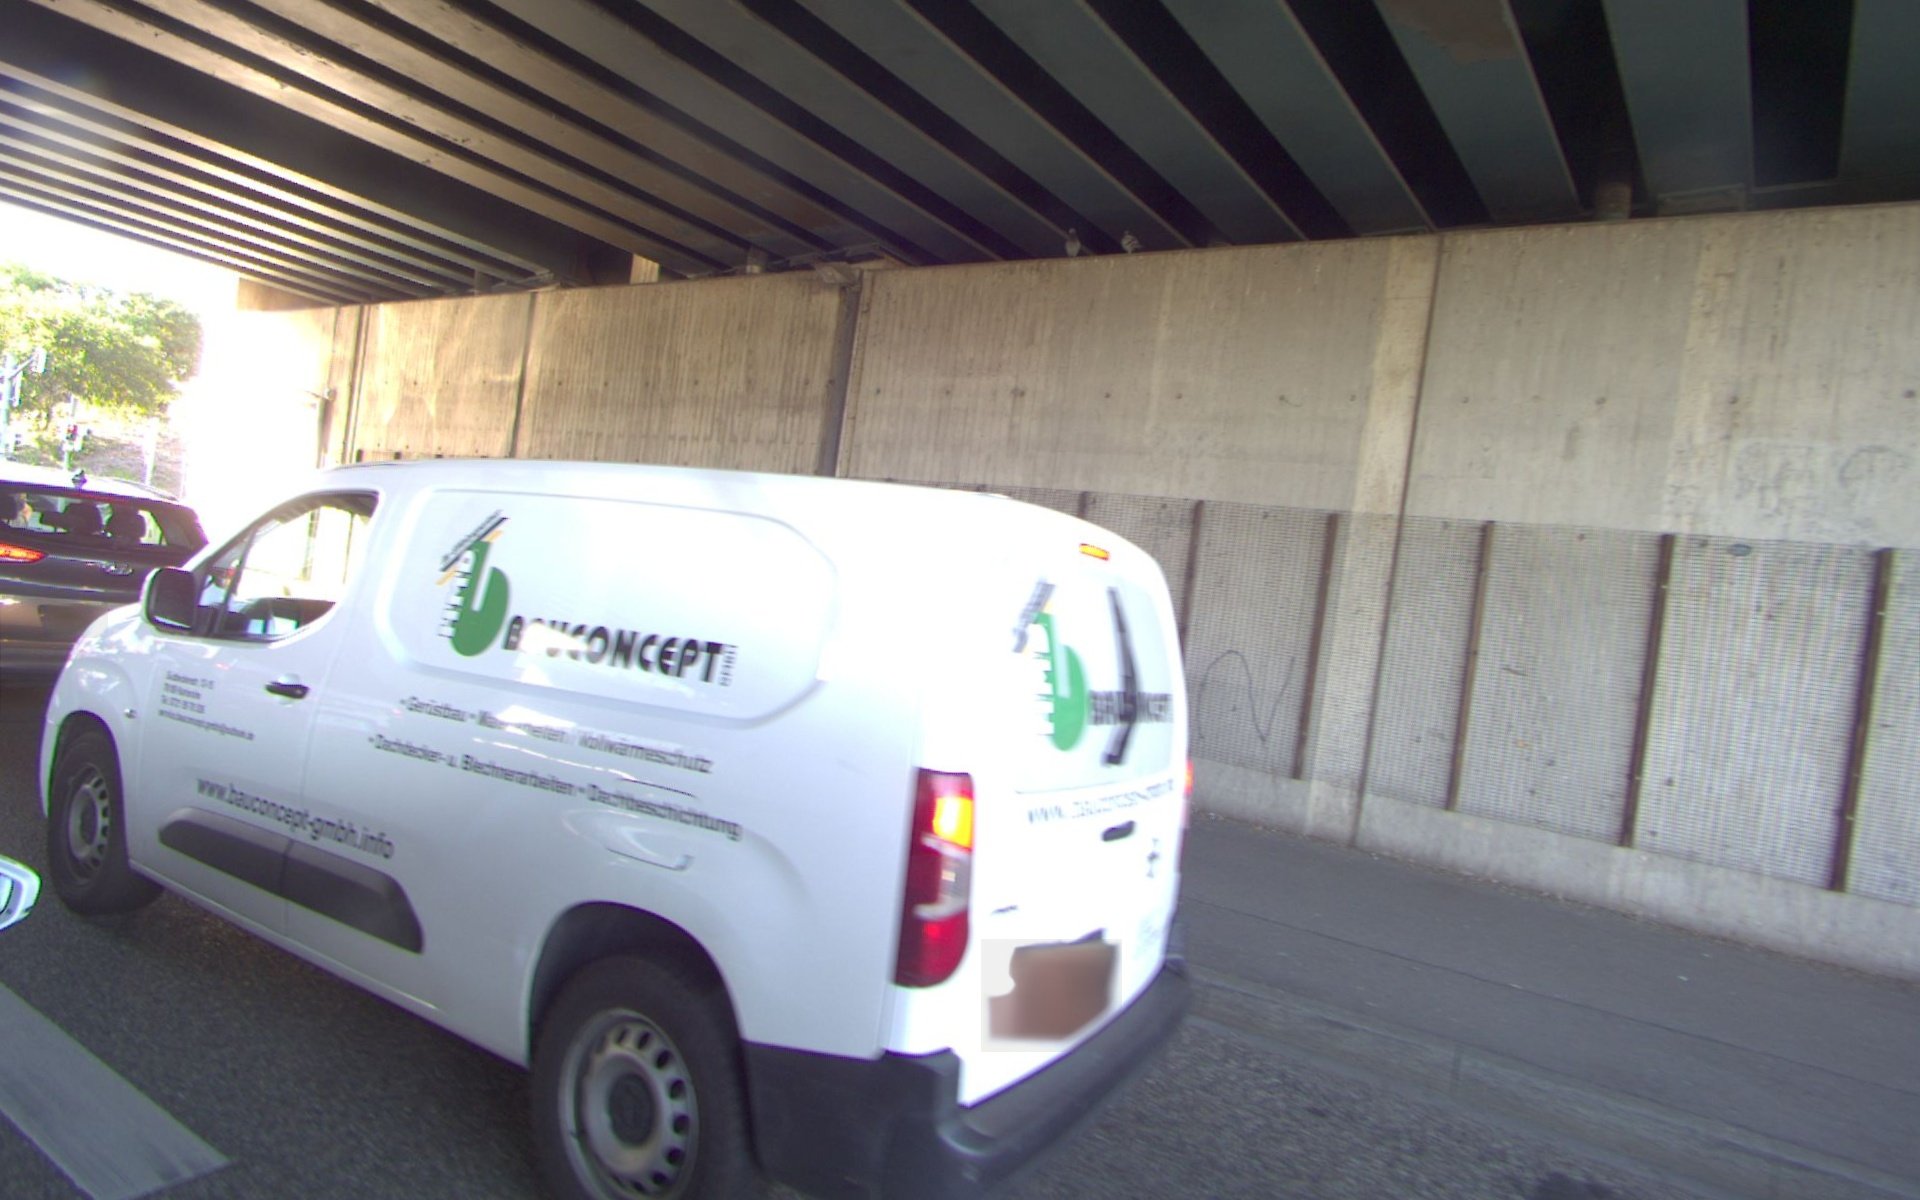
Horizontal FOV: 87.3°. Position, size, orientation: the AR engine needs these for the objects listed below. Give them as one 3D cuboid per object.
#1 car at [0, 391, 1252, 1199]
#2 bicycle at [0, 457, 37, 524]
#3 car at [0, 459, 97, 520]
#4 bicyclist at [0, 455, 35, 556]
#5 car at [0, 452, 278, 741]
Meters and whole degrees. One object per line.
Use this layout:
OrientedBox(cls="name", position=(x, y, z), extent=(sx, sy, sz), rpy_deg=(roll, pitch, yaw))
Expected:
OrientedBox(cls="car", position=(-1.408, 0.451, 3.632), extent=(4.227, 1.855, 1.817), rpy_deg=(8, -1, 30))
OrientedBox(cls="bicycle", position=(-16.410, -1.893, 17.224), extent=(1.508, 1.036, 0.676), rpy_deg=(6, -2, 43))
OrientedBox(cls="car", position=(-33.093, -4.002, 34.840), extent=(1.966, 1.625, 4.359), rpy_deg=(7, -2, 29))
OrientedBox(cls="bicyclist", position=(-16.437, -1.644, 17.215), extent=(0.635, 1.648, 0.676), rpy_deg=(7, -1, 42))
OrientedBox(cls="car", position=(-7.003, -0.176, 7.265), extent=(3.923, 1.675, 1.782), rpy_deg=(8, -1, 30))
